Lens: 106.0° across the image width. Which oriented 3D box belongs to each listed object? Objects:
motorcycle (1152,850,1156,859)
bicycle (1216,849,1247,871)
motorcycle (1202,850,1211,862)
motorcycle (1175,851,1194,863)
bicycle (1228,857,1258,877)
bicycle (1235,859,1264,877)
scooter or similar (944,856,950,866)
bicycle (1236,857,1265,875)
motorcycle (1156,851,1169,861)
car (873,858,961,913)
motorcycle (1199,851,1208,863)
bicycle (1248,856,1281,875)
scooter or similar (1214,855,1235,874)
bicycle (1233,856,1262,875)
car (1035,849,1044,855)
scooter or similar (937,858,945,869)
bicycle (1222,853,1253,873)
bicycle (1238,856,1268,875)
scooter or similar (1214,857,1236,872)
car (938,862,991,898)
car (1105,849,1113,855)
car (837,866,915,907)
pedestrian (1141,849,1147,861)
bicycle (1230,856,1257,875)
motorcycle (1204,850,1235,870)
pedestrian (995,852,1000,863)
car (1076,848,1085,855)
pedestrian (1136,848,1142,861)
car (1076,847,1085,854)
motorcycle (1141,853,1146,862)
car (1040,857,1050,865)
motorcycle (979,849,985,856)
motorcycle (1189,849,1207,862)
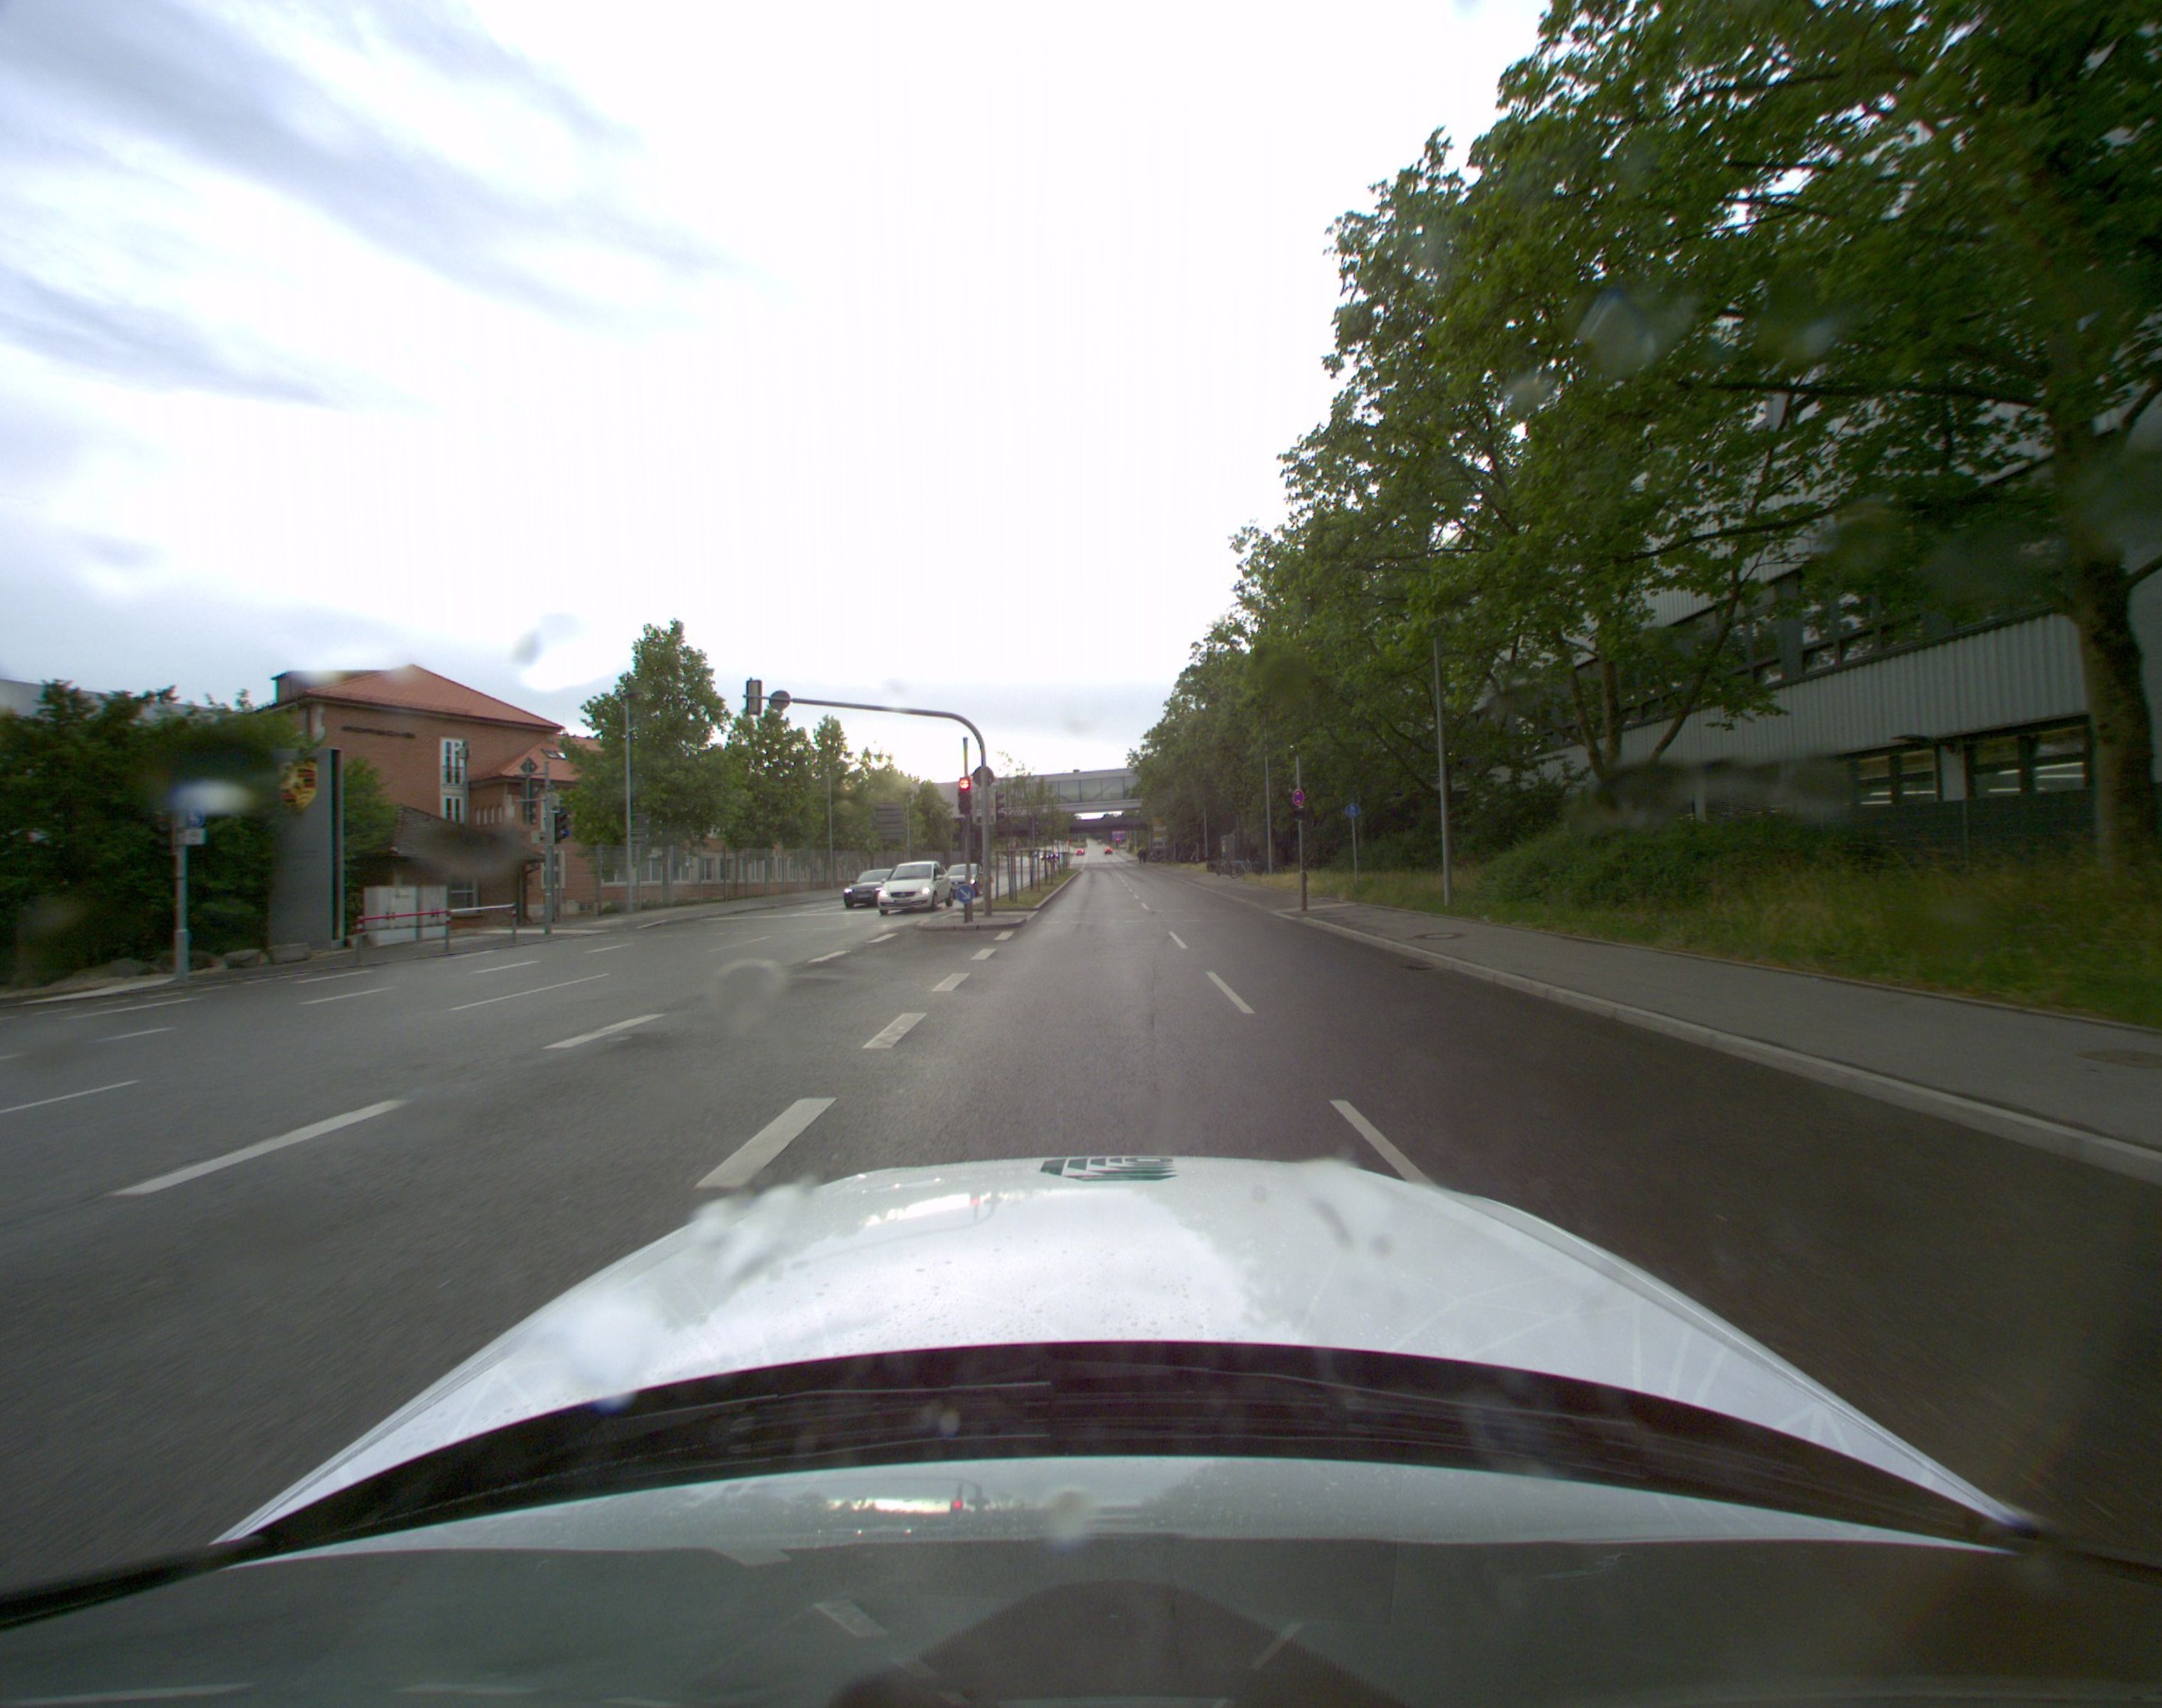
[{"bbox_3d":[9.881,0.029,110.627,0.467,1.213,1.948,-3,0,7],"label":"motorcycle"},{"bbox_3d":[9.754,0.406,52.830,1.859,1.348,0.446,-3,0,-12],"label":"bicycle"},{"bbox_3d":[13.995,0.202,90.913,0.643,1.279,1.991,-2,0,1],"label":"motorcycle"},{"bbox_3d":[10.921,0.339,85.922,1.851,1.191,0.519,-3,0,-15],"label":"motorcycle"},{"bbox_3d":[8.914,0.698,44.817,1.546,1.005,0.393,-3,0,0],"label":"bicycle"},{"bbox_3d":[9.748,0.798,47.134,1.546,0.958,0.393,-3,0,0],"label":"bicycle"},{"bbox_3d":[-16.136,0.865,97.806,0.310,1.218,1.310,-3,0,6],"label":"scooter or similar"},{"bbox_3d":[9.750,0.686,46.737,1.546,0.958,0.393,-3,0,0],"label":"bicycle"},{"bbox_3d":[10.951,0.267,109.453,0.550,1.297,1.921,-3,0,-40],"label":"motorcycle"},{"bbox_3d":[-5.324,0.972,27.066,1.764,1.589,4.488,-3,-1,3],"label":"car"},{"bbox_3d":[14.327,0.368,95.368,0.345,1.279,2.084,-2,0,29],"label":"motorcycle"},{"bbox_3d":[9.696,0.596,43.012,1.602,0.939,0.387,-3,-1,0],"label":"bicycle"},{"bbox_3d":[8.768,0.630,49.743,1.210,1.091,0.312,-3,0,-4],"label":"scooter or similar"},{"bbox_3d":[9.766,0.660,47.799,1.546,1.005,0.393,-3,0,0],"label":"bicycle"},{"bbox_3d":[-10.078,-0.439,197.573,2.057,1.361,4.755,-3,0,-1],"label":"car"},{"bbox_3d":[-16.262,1.102,94.716,0.309,1.218,1.312,-3,0,13],"label":"scooter or similar"},{"bbox_3d":[9.804,0.540,51.042,1.785,1.167,0.447,-3,0,-6],"label":"bicycle"},{"bbox_3d":[9.676,0.657,45.816,1.546,1.005,0.393,-3,0,0],"label":"bicycle"},{"bbox_3d":[9.729,0.720,55.031,1.476,0.937,0.364,-3,0,-17],"label":"scooter or similar"},{"bbox_3d":[-5.081,1.094,36.027,1.572,1.404,4.112,-3,0,1],"label":"car"},{"bbox_3d":[6.560,-0.497,192.075,1.739,1.470,4.166,-2,1,0],"label":"car"},{"bbox_3d":[-8.124,1.256,32.679,1.767,1.404,4.616,-3,0,1],"label":"car"},{"bbox_3d":[8.332,0.132,107.212,0.646,1.596,0.580,-3,0,12],"label":"pedestrian"},{"bbox_3d":[9.701,0.683,48.620,1.546,1.005,0.393,-3,0,0],"label":"bicycle"},{"bbox_3d":[9.601,0.434,56.483,1.995,1.273,0.443,-3,0,13],"label":"motorcycle"},{"bbox_3d":[-13.558,0.580,131.651,0.516,1.816,0.802,-1,0,11],"label":"pedestrian"},{"bbox_3d":[-0.095,-0.543,192.411,2.070,1.718,4.196,1,-1,-1],"label":"car"},{"bbox_3d":[7.684,0.105,107.302,0.607,1.721,0.894,-3,0,11],"label":"pedestrian"},{"bbox_3d":[-0.002,-0.840,203.164,2.158,1.582,4.665,0,-1,1],"label":"car"},{"bbox_3d":[8.250,0.458,107.663,0.468,1.136,1.819,-3,0,0],"label":"motorcycle"},{"bbox_3d":[-7.393,1.395,166.333,1.710,1.437,3.771,-4,0,0],"label":"car"},{"bbox_3d":[-15.816,-0.273,129.912,0.466,1.158,1.934,-3,1,4],"label":"motorcycle"},{"bbox_3d":[10.936,0.157,76.019,1.643,1.150,0.494,0,-1,8],"label":"motorcycle"}]
